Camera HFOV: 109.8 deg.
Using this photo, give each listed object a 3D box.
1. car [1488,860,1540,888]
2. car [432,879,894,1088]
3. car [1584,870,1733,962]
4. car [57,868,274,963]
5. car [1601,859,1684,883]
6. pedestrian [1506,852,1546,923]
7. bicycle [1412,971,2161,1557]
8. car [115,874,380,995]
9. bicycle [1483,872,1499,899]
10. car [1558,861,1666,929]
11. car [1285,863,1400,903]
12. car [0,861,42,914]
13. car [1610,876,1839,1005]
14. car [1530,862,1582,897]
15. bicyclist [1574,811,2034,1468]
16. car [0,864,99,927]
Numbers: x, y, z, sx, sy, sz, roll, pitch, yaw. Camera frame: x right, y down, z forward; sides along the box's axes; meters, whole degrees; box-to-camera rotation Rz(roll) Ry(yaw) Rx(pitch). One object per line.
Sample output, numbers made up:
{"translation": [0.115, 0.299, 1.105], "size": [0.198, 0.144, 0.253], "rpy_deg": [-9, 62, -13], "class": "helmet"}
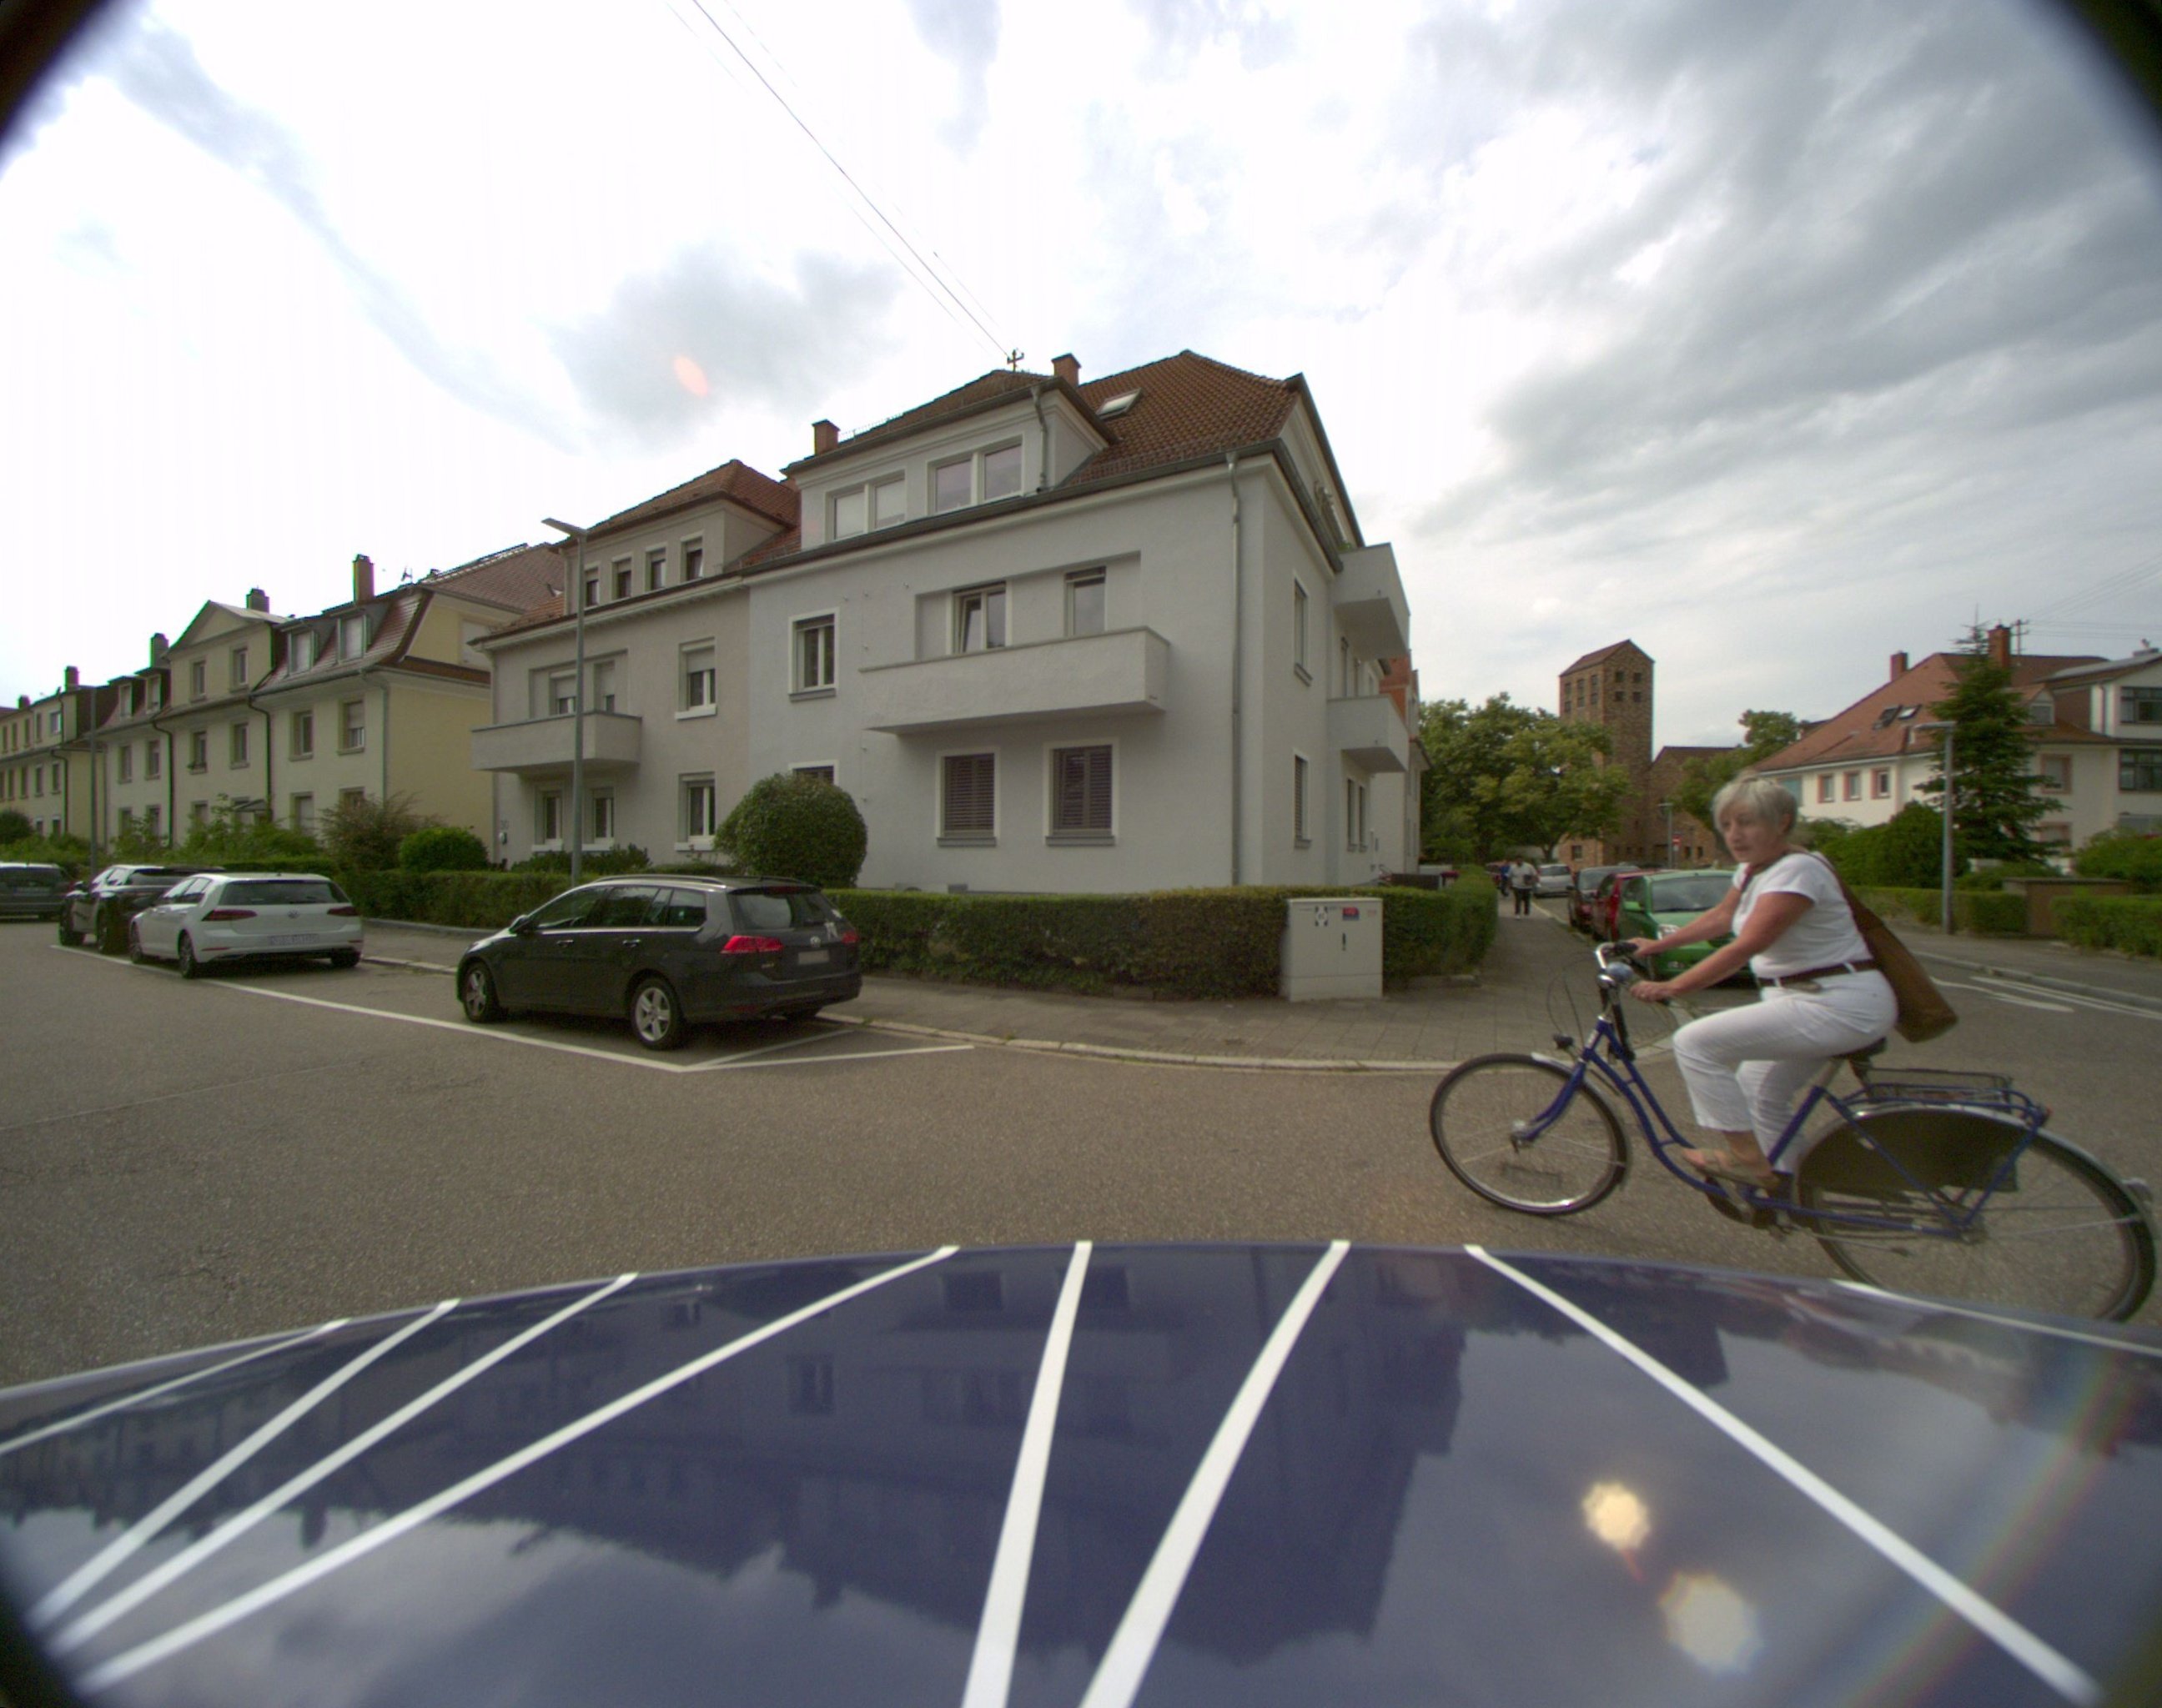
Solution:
{"translation": [24.850, 1.139, 43.718], "size": [1.648, 1.486, 3.485], "rpy_deg": [-3, -1, 13], "class": "car"}
{"translation": [-4.113, 1.037, 7.467], "size": [4.164, 1.463, 1.863], "rpy_deg": [0, 0, 25], "class": "car"}
{"translation": [11.010, 1.119, 14.724], "size": [1.647, 1.486, 3.488], "rpy_deg": [-3, -2, 27], "class": "car"}
{"translation": [-17.130, 1.035, 14.195], "size": [4.163, 1.463, 1.863], "rpy_deg": [0, 0, 29], "class": "car"}
{"translation": [37.444, 1.116, 50.786], "size": [4.216, 1.456, 1.687], "rpy_deg": [0, 2, 27], "class": "car"}
{"translation": [12.070, 0.882, 20.655], "size": [0.882, 1.867, 1.081], "rpy_deg": [0, 1, 28], "class": "pedestrian"}
{"translation": [2.222, 1.089, 2.578], "size": [1.868, 1.145, 0.709], "rpy_deg": [-2, -1, 45], "class": "bicycle"}
{"translation": [-12.946, 1.105, 11.772], "size": [4.163, 1.463, 1.863], "rpy_deg": [0, 0, 29], "class": "car"}
{"translation": [17.763, 1.349, 32.923], "size": [0.422, 1.097, 2.119], "rpy_deg": [0, 0, 24], "class": "bicycle"}
{"translation": [12.899, 0.951, 18.641], "size": [1.647, 1.486, 3.488], "rpy_deg": [-3, -2, 27], "class": "car"}
{"translation": [10.341, 1.103, 30.051], "size": [3.989, 1.455, 2.004], "rpy_deg": [0, 0, 29], "class": "car"}
{"translation": [-32.324, 0.960, 22.181], "size": [4.163, 1.463, 1.863], "rpy_deg": [0, 0, 29], "class": "car"}
{"translation": [8.786, 1.092, 10.719], "size": [1.647, 1.413, 3.488], "rpy_deg": [-3, -2, 27], "class": "car"}
{"translation": [21.739, 1.145, 34.862], "size": [1.647, 1.486, 3.488], "rpy_deg": [-3, -2, 27], "class": "car"}
{"translation": [2.290, 0.730, 2.509], "size": [0.972, 1.656, 0.700], "rpy_deg": [-1, 0, 45], "class": "bicyclist"}
{"translation": [-27.603, 1.021, 19.789], "size": [4.163, 1.463, 1.863], "rpy_deg": [0, 0, 29], "class": "car"}
